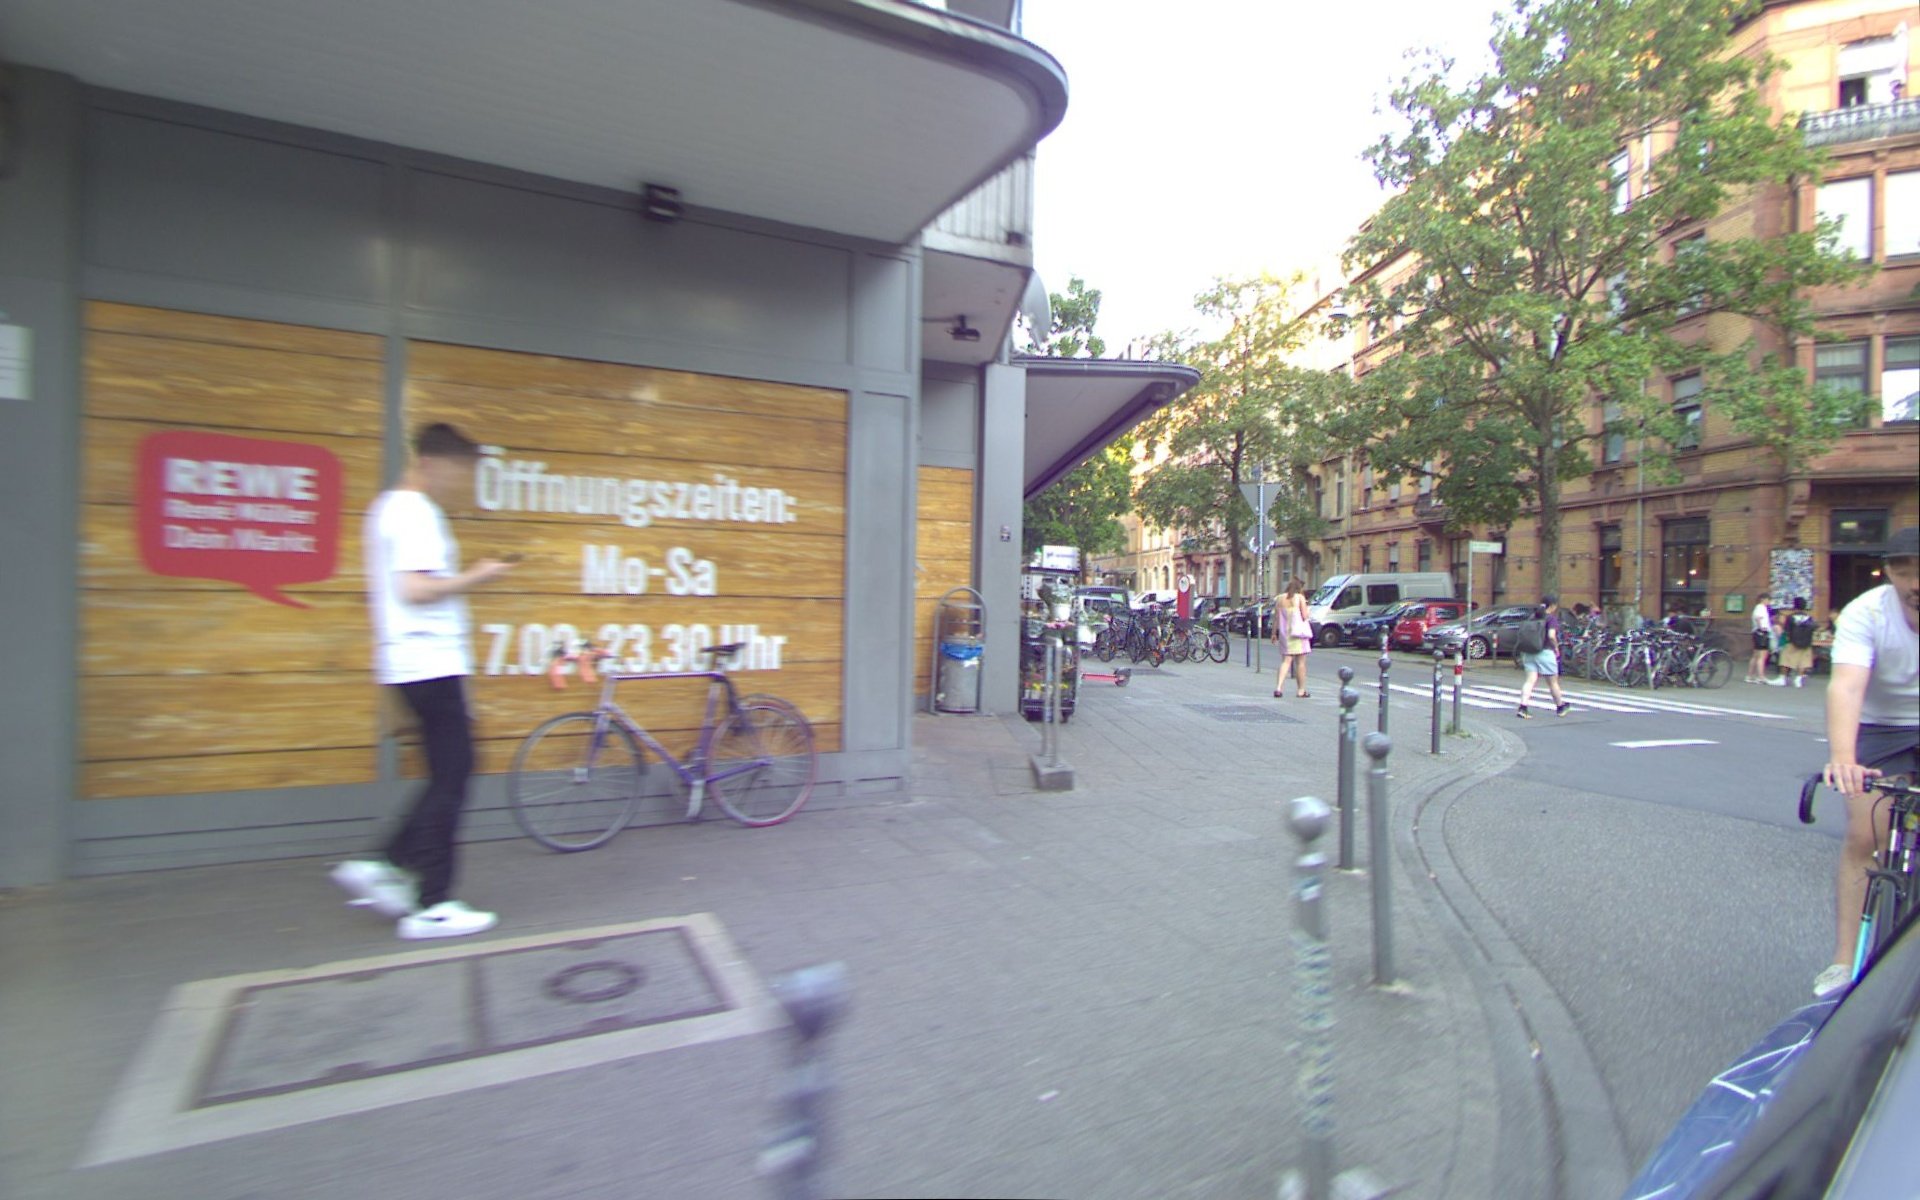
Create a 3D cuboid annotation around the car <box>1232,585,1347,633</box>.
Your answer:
[{"bbox_3d":[13.092,0.343,40.358,3.898,1.847,1.852,0,0,-2],"label":"car"}]

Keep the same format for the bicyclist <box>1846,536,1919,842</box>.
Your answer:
[{"bbox_3d":[5.372,0.470,5.498,0.790,1.592,0.815,0,-1,38],"label":"bicyclist"}]

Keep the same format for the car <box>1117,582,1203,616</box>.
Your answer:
[{"bbox_3d":[12.355,-0.070,62.811,4.751,2.037,2.205,0,0,-6],"label":"car"}]

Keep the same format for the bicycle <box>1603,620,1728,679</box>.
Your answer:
[{"bbox_3d":[13.284,0.925,19.094,1.848,1.065,0.713,0,0,0],"label":"bicycle"}]

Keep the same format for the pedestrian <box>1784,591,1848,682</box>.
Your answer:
[{"bbox_3d":[15.799,0.660,18.690,0.630,1.658,0.673,0,0,9],"label":"pedestrian"}]

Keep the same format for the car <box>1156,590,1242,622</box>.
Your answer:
[{"bbox_3d":[12.269,0.296,52.024,3.894,1.556,1.854,0,0,-8],"label":"car"}]

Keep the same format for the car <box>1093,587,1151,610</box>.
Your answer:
[{"bbox_3d":[11.669,-0.120,72.973,3.833,1.568,1.794,0,0,-5],"label":"car"}]

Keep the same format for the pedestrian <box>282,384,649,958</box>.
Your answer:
[{"bbox_3d":[-1.918,0.231,4.005,1.165,1.935,0.765,1,2,-27],"label":"pedestrian"}]

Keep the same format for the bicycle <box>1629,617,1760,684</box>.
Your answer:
[{"bbox_3d":[13.321,0.908,18.383,1.848,1.169,0.713,0,0,0],"label":"bicycle"}]

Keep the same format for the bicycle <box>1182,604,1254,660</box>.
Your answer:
[{"bbox_3d":[5.693,0.694,22.449,0.558,1.095,1.788,2,1,-23],"label":"bicycle"}]

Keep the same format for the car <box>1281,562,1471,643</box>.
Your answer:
[{"bbox_3d":[13.750,0.058,33.648,5.379,2.487,2.123,-1,0,-5],"label":"car"}]

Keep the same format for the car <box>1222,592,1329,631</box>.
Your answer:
[{"bbox_3d":[13.366,0.460,42.973,3.894,1.556,1.854,0,0,-8],"label":"car"}]

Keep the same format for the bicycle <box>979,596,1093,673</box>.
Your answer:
[{"bbox_3d":[1.255,0.548,16.701,1.758,1.140,0.607,3,1,14],"label":"bicycle"}]

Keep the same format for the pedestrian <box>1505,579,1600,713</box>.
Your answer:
[{"bbox_3d":[7.483,0.570,12.790,0.850,1.627,0.540,2,0,-16],"label":"pedestrian"}]

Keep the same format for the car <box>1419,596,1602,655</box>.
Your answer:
[{"bbox_3d":[14.358,0.642,26.501,3.898,1.438,1.629,0,0,-2],"label":"car"}]

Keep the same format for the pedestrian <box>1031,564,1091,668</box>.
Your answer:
[{"bbox_3d":[1.748,0.264,17.662,0.843,1.737,0.769,2,1,-4],"label":"pedestrian"}]

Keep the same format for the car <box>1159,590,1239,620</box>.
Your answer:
[{"bbox_3d":[12.887,0.262,54.590,3.790,1.556,1.736,0,0,-8],"label":"car"}]

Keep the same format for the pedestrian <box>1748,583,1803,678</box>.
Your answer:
[{"bbox_3d":[15.664,0.568,19.440,0.628,1.767,0.675,0,0,-36],"label":"pedestrian"}]

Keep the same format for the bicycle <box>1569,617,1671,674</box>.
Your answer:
[{"bbox_3d":[13.503,0.919,20.715,1.844,1.091,0.714,0,0,-17],"label":"bicycle"}]

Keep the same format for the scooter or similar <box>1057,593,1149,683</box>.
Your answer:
[{"bbox_3d":[2.075,0.545,14.686,1.206,1.248,0.416,2,0,-12],"label":"scooter or similar"}]

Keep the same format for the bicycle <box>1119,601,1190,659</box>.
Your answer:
[{"bbox_3d":[4.108,0.621,21.527,0.558,1.095,1.788,2,1,-23],"label":"bicycle"}]

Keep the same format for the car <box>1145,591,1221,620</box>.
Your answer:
[{"bbox_3d":[12.475,0.272,56.716,3.790,1.556,1.736,0,0,-8],"label":"car"}]

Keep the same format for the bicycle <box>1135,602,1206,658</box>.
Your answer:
[{"bbox_3d":[4.554,0.636,21.970,0.558,1.095,1.788,2,1,-23],"label":"bicycle"}]

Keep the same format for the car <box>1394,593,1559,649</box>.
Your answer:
[{"bbox_3d":[14.721,0.573,28.962,3.898,1.521,1.629,0,0,-2],"label":"car"}]

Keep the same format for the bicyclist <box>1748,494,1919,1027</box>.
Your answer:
[{"bbox_3d":[3.126,0.454,3.191,0.933,1.528,0.652,0,0,-25],"label":"bicyclist"}]

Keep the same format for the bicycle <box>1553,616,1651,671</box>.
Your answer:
[{"bbox_3d":[13.512,0.903,21.305,1.844,1.091,0.714,0,0,-17],"label":"bicycle"}]

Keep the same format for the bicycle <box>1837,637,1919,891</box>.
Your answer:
[{"bbox_3d":[5.363,0.799,5.489,0.790,1.154,2.310,0,-1,38],"label":"bicycle"}]

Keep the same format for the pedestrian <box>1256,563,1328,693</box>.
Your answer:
[{"bbox_3d":[4.685,0.379,14.264,0.691,1.767,0.702,3,1,40],"label":"pedestrian"}]

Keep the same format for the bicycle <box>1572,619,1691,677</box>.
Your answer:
[{"bbox_3d":[13.149,0.931,19.838,1.848,1.071,0.713,0,0,0],"label":"bicycle"}]

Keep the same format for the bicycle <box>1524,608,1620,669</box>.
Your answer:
[{"bbox_3d":[13.185,0.816,21.808,1.844,1.255,0.714,0,0,-17],"label":"bicycle"}]

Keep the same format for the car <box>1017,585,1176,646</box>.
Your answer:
[{"bbox_3d":[3.725,0.363,27.219,4.372,1.506,1.791,-1,1,-40],"label":"car"}]

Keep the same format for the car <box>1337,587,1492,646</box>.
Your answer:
[{"bbox_3d":[13.894,0.472,31.064,3.898,1.683,1.765,-1,0,-2],"label":"car"}]

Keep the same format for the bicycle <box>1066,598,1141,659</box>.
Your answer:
[{"bbox_3d":[2.940,0.559,20.881,0.669,1.125,1.788,2,1,-23],"label":"bicycle"}]

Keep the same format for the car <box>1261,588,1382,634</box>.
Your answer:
[{"bbox_3d":[13.619,0.407,38.252,3.898,1.683,1.765,0,0,-2],"label":"car"}]

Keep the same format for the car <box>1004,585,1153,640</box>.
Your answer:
[{"bbox_3d":[3.565,0.318,30.049,4.372,1.506,1.948,-1,1,-40],"label":"car"}]

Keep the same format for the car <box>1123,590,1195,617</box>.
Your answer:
[{"bbox_3d":[11.729,0.208,59.867,3.790,1.556,1.736,0,0,-8],"label":"car"}]

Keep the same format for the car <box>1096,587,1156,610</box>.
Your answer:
[{"bbox_3d":[11.623,-0.089,70.915,3.833,1.553,1.794,0,0,-5],"label":"car"}]

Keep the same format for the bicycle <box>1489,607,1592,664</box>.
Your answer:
[{"bbox_3d":[12.979,0.787,22.663,1.851,1.255,0.711,0,0,6],"label":"bicycle"}]

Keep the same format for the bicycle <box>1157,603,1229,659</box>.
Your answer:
[{"bbox_3d":[5.095,0.653,22.211,0.558,1.095,1.788,2,1,-23],"label":"bicycle"}]

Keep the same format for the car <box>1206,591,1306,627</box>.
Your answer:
[{"bbox_3d":[13.265,0.366,45.446,3.894,1.556,1.854,0,0,-8],"label":"car"}]

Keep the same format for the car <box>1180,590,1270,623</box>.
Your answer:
[{"bbox_3d":[13.032,0.316,49.889,3.894,1.556,1.854,0,0,-8],"label":"car"}]

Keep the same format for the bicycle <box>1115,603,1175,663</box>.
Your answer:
[{"bbox_3d":[3.634,0.628,20.038,0.558,1.096,1.787,2,0,-9],"label":"bicycle"}]

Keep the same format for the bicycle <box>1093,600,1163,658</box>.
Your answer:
[{"bbox_3d":[3.521,0.592,21.336,0.558,1.095,1.788,2,1,-23],"label":"bicycle"}]

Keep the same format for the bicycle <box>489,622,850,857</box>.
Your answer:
[{"bbox_3d":[-1.469,0.653,5.254,1.747,1.037,0.458,0,0,-29],"label":"bicycle"}]
